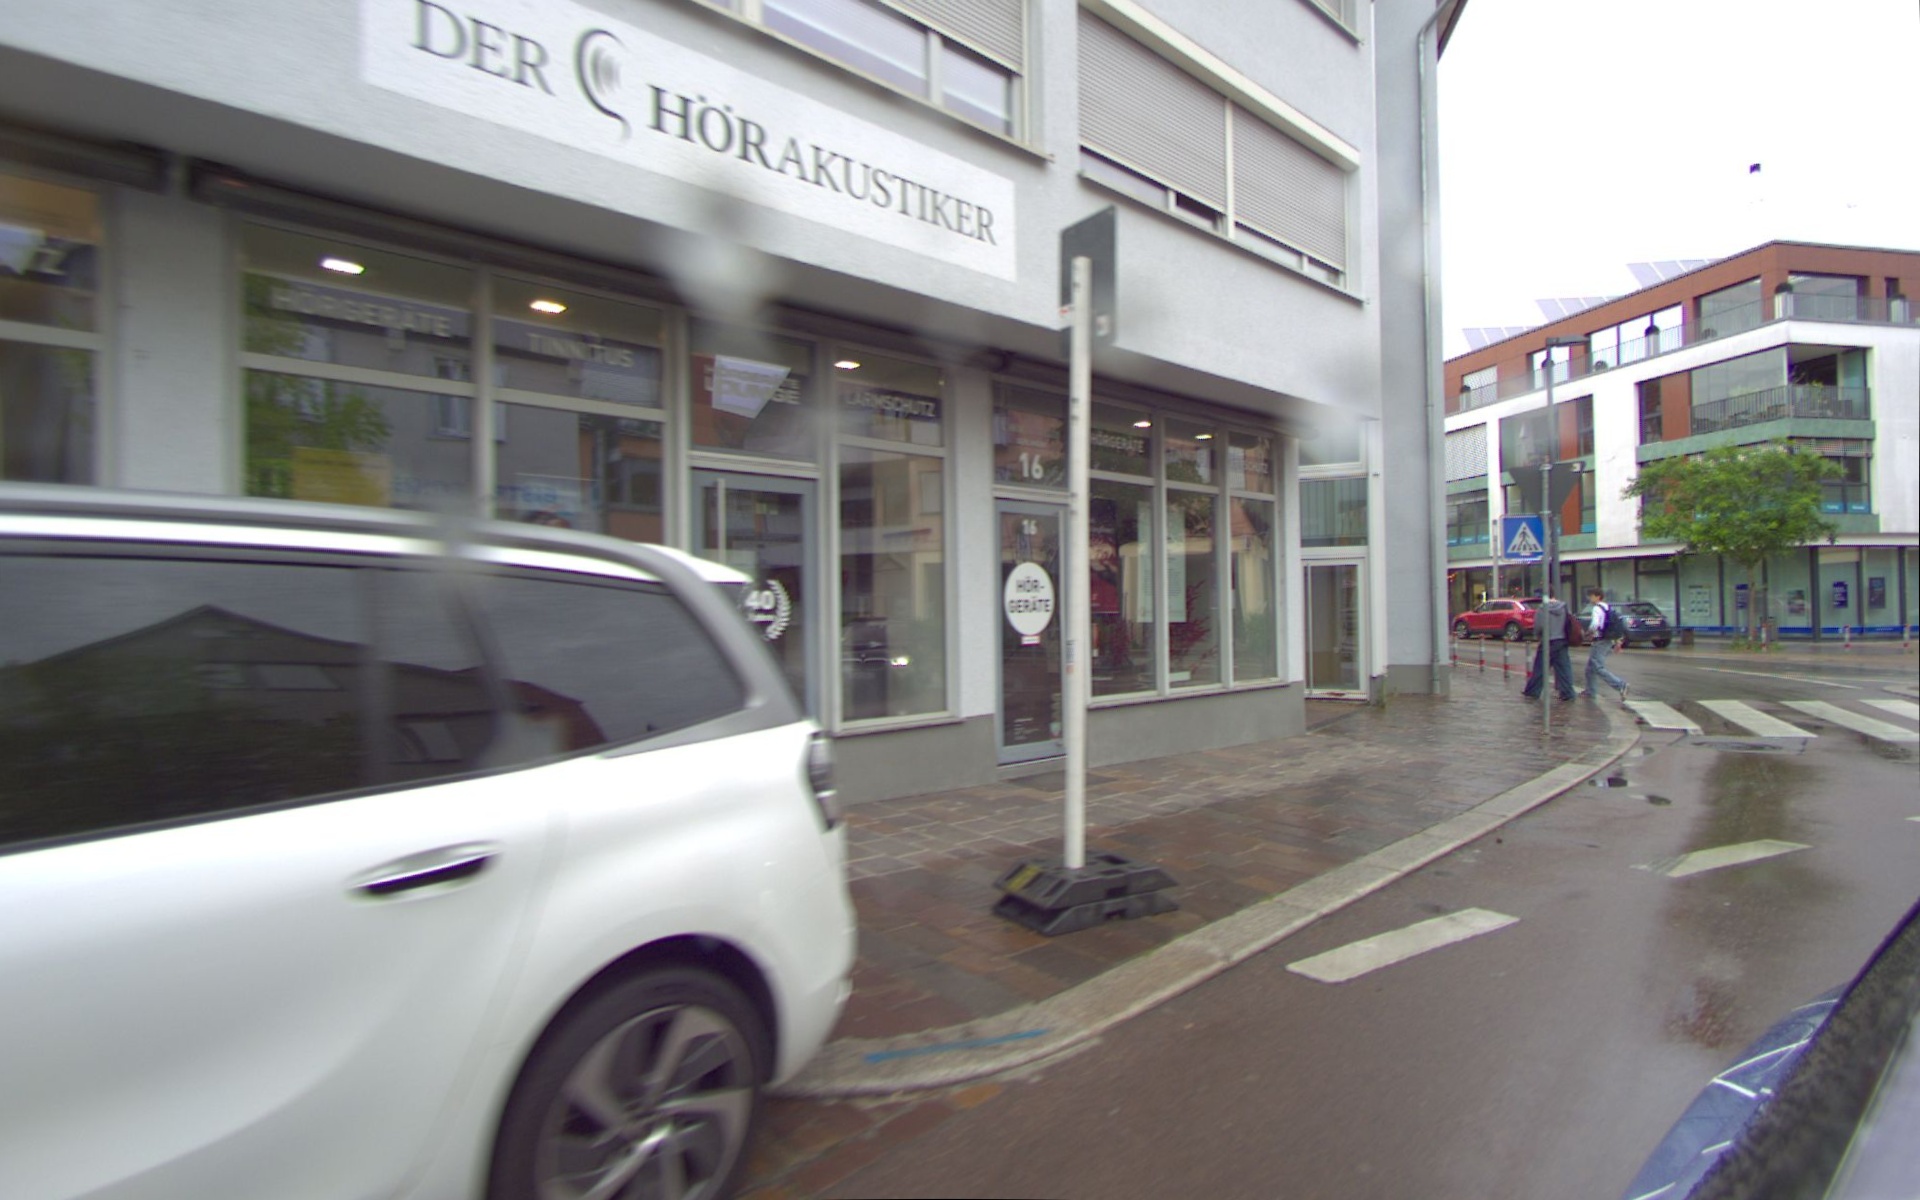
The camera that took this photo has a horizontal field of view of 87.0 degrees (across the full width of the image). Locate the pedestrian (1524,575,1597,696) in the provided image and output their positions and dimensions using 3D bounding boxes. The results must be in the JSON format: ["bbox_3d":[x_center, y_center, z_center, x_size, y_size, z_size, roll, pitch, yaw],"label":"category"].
[{"bbox_3d":[9.421,0.541,15.906,0.685,1.823,1.053,-1,-1,16],"label":"pedestrian"}]

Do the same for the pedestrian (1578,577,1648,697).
[{"bbox_3d":[10.359,0.577,16.092,0.657,1.830,1.054,-2,-1,20],"label":"pedestrian"}]

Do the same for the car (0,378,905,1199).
[{"bbox_3d":[-2.279,0.509,1.651,1.775,1.651,4.400,0,0,42],"label":"car"}]

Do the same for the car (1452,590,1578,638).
[{"bbox_3d":[20.069,0.488,36.787,1.595,1.519,4.008,-4,1,-15],"label":"car"}]

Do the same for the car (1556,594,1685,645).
[{"bbox_3d":[20.778,0.578,31.982,1.510,1.378,3.379,-2,2,-8],"label":"car"}]

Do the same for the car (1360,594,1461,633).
[{"bbox_3d":[18.818,0.545,42.486,1.587,1.431,4.008,-4,1,-16],"label":"car"}]
